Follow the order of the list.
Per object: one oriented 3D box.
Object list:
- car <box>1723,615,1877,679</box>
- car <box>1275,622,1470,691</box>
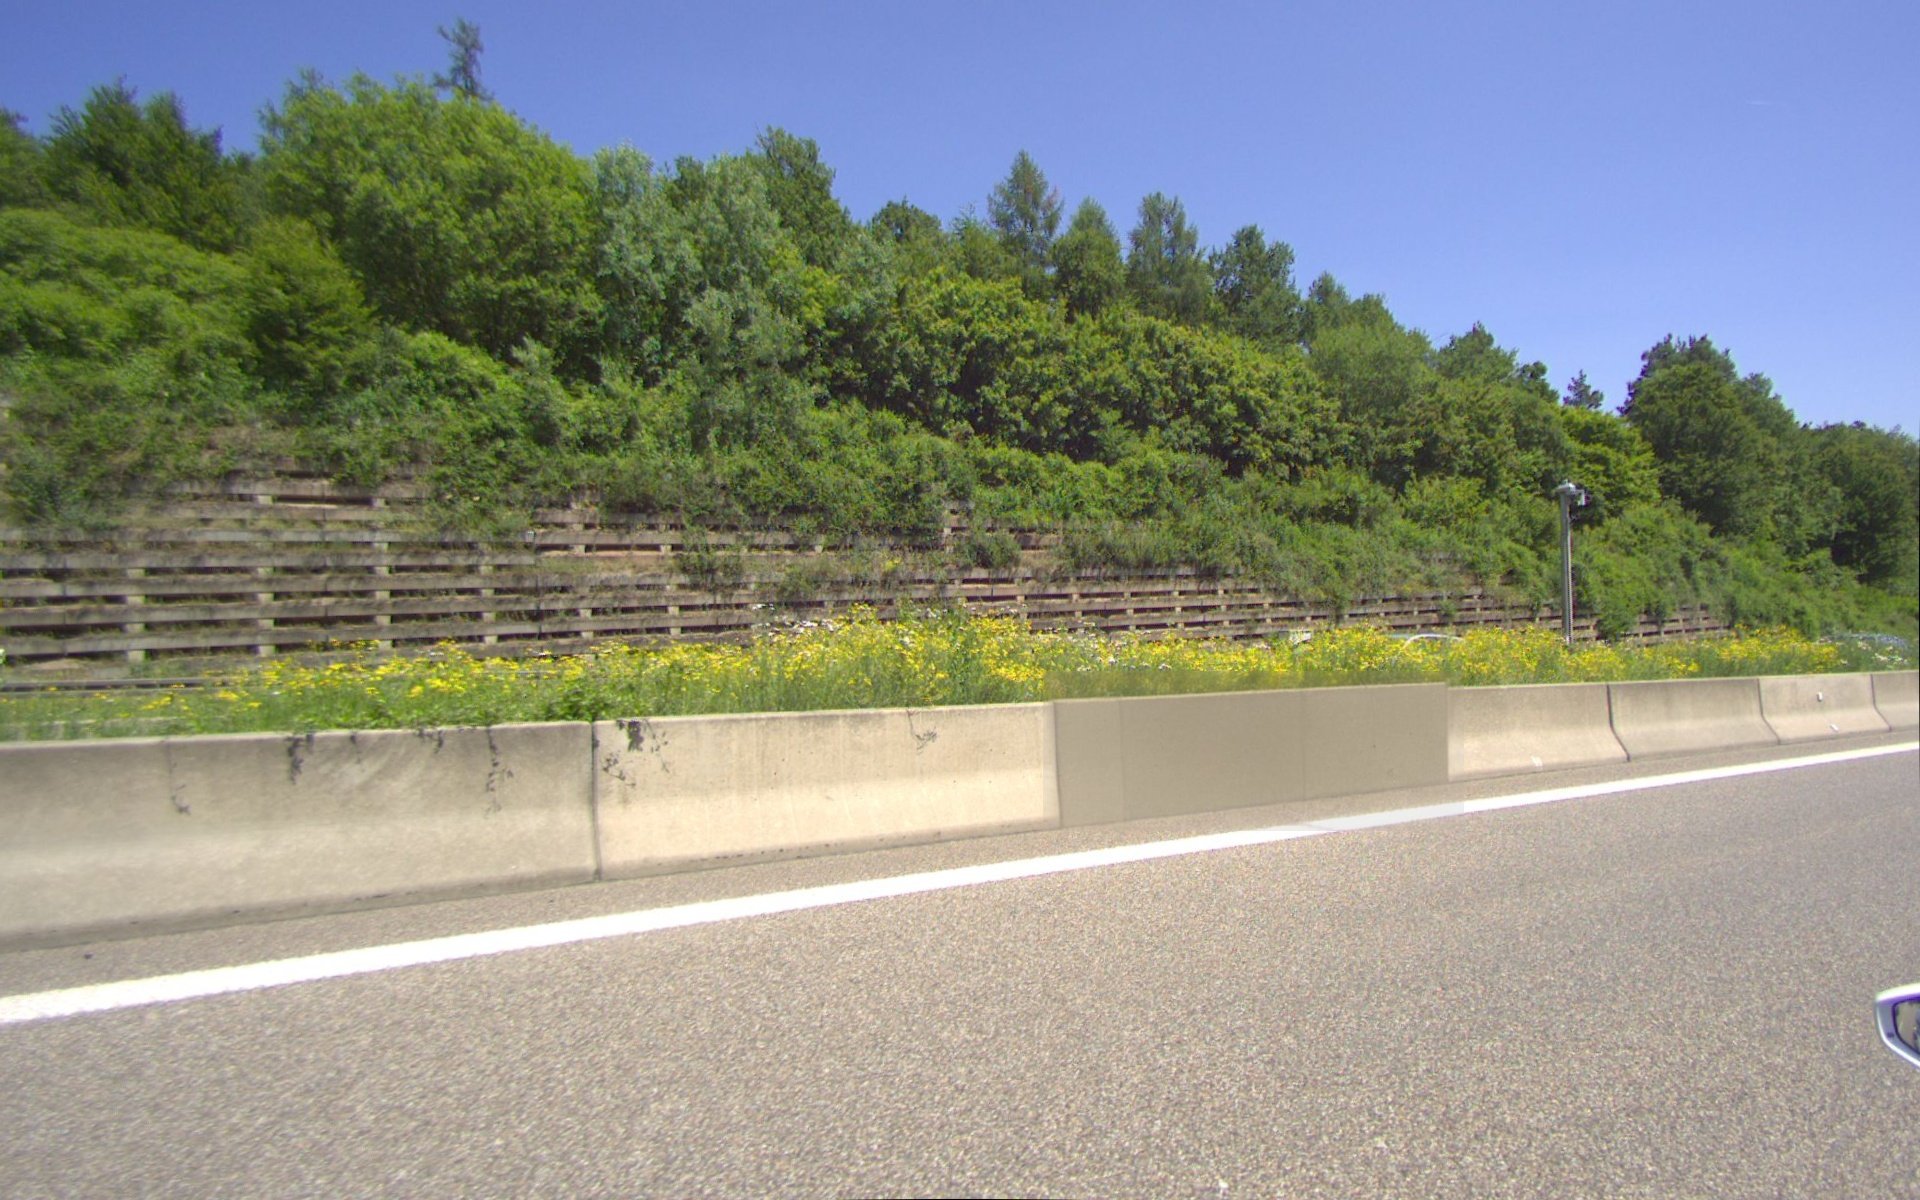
[{"bbox_3d":[21.599,1.172,25.795,4.155,1.542,1.779,1,-2,-31],"label":"car"},{"bbox_3d":[8.928,1.162,21.669,4.155,1.362,1.779,1,-2,-31],"label":"car"}]
